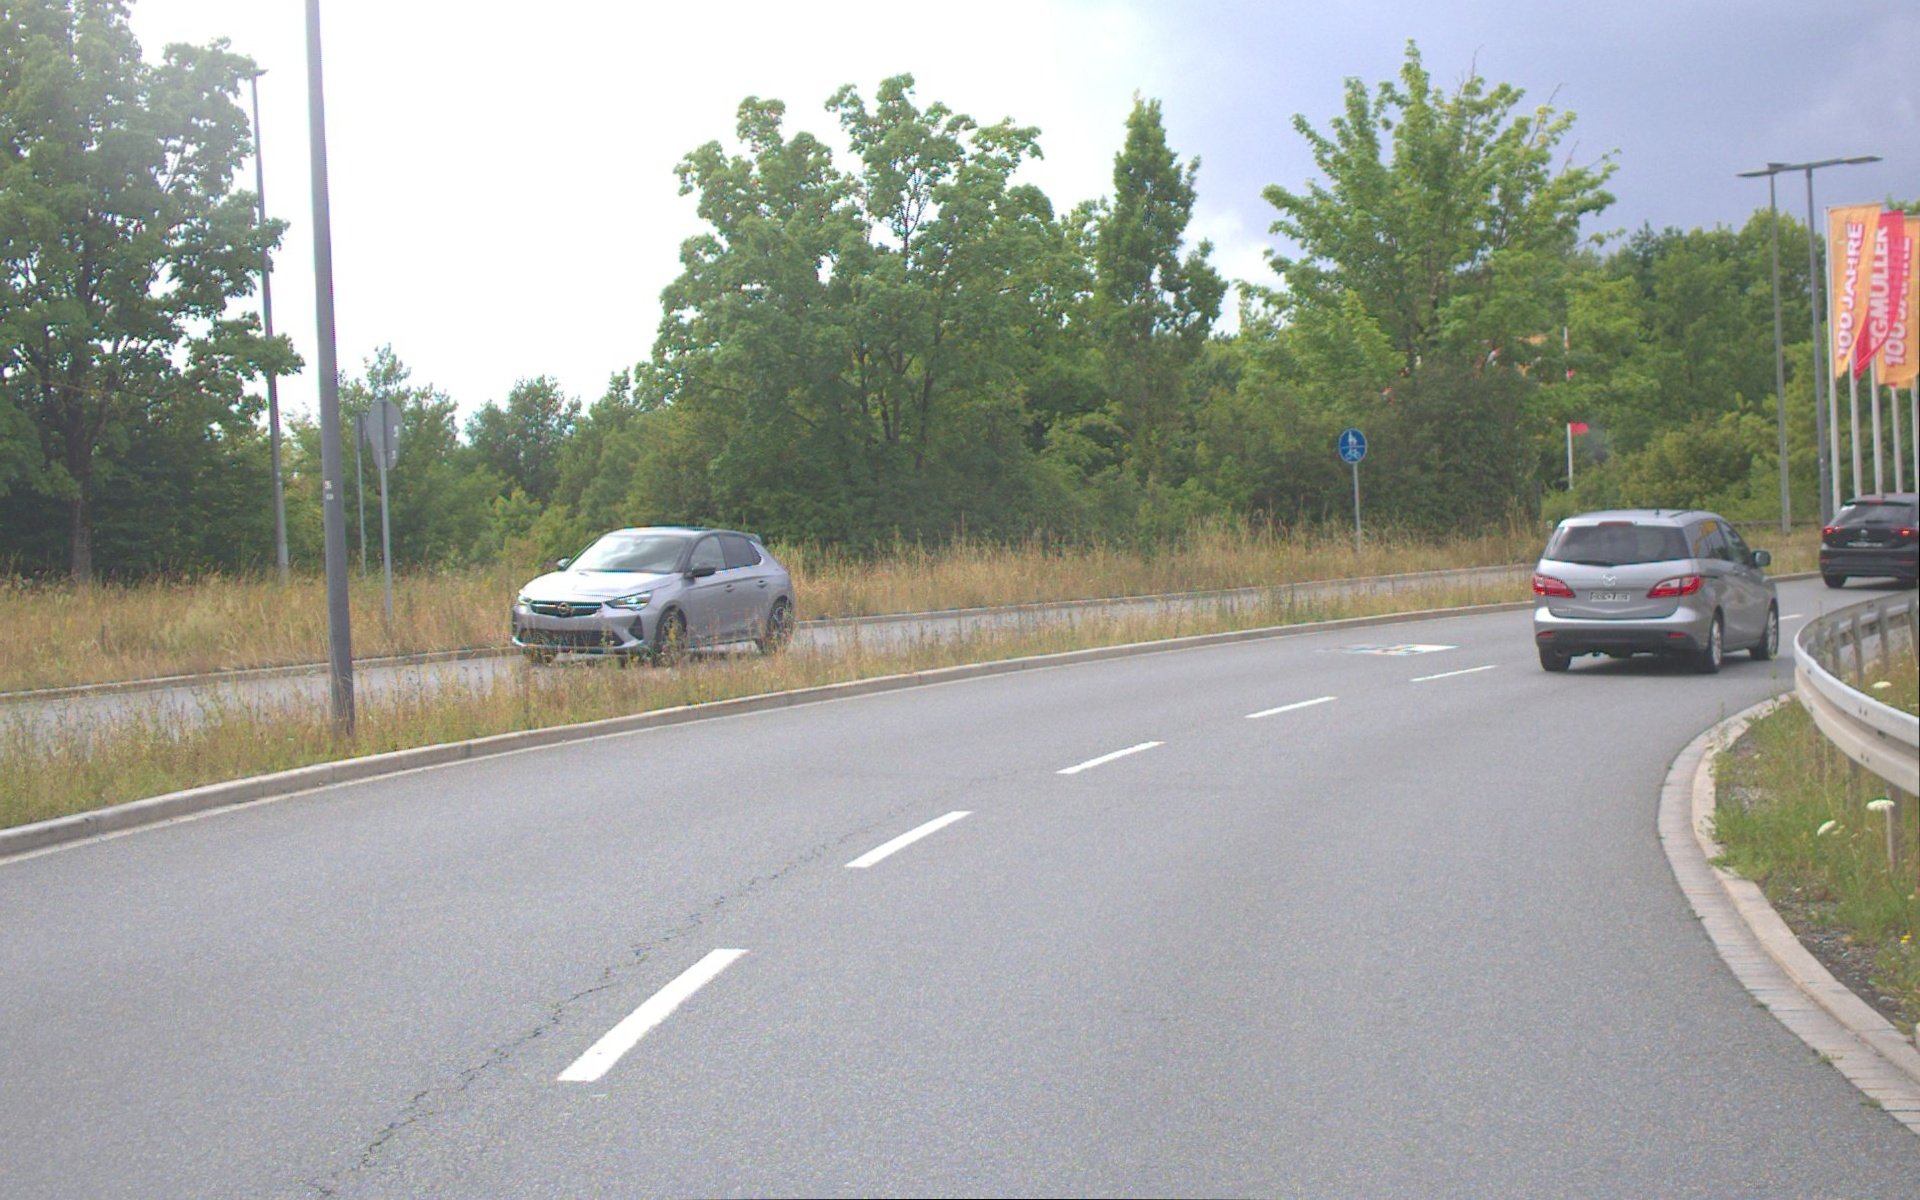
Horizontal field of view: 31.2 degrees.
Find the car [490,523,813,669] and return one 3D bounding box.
[{"bbox_3d":[-3.259,-0.073,37.076,1.461,1.481,4.089,-1,1,28],"label":"car"}]

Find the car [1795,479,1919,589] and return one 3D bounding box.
[{"bbox_3d":[14.485,-1.031,53.036,1.873,1.600,3.727,-1,1,35],"label":"car"}]

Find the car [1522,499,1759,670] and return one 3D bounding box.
[{"bbox_3d":[6.955,-0.120,34.861,1.769,1.611,3.917,0,-1,20],"label":"car"}]
